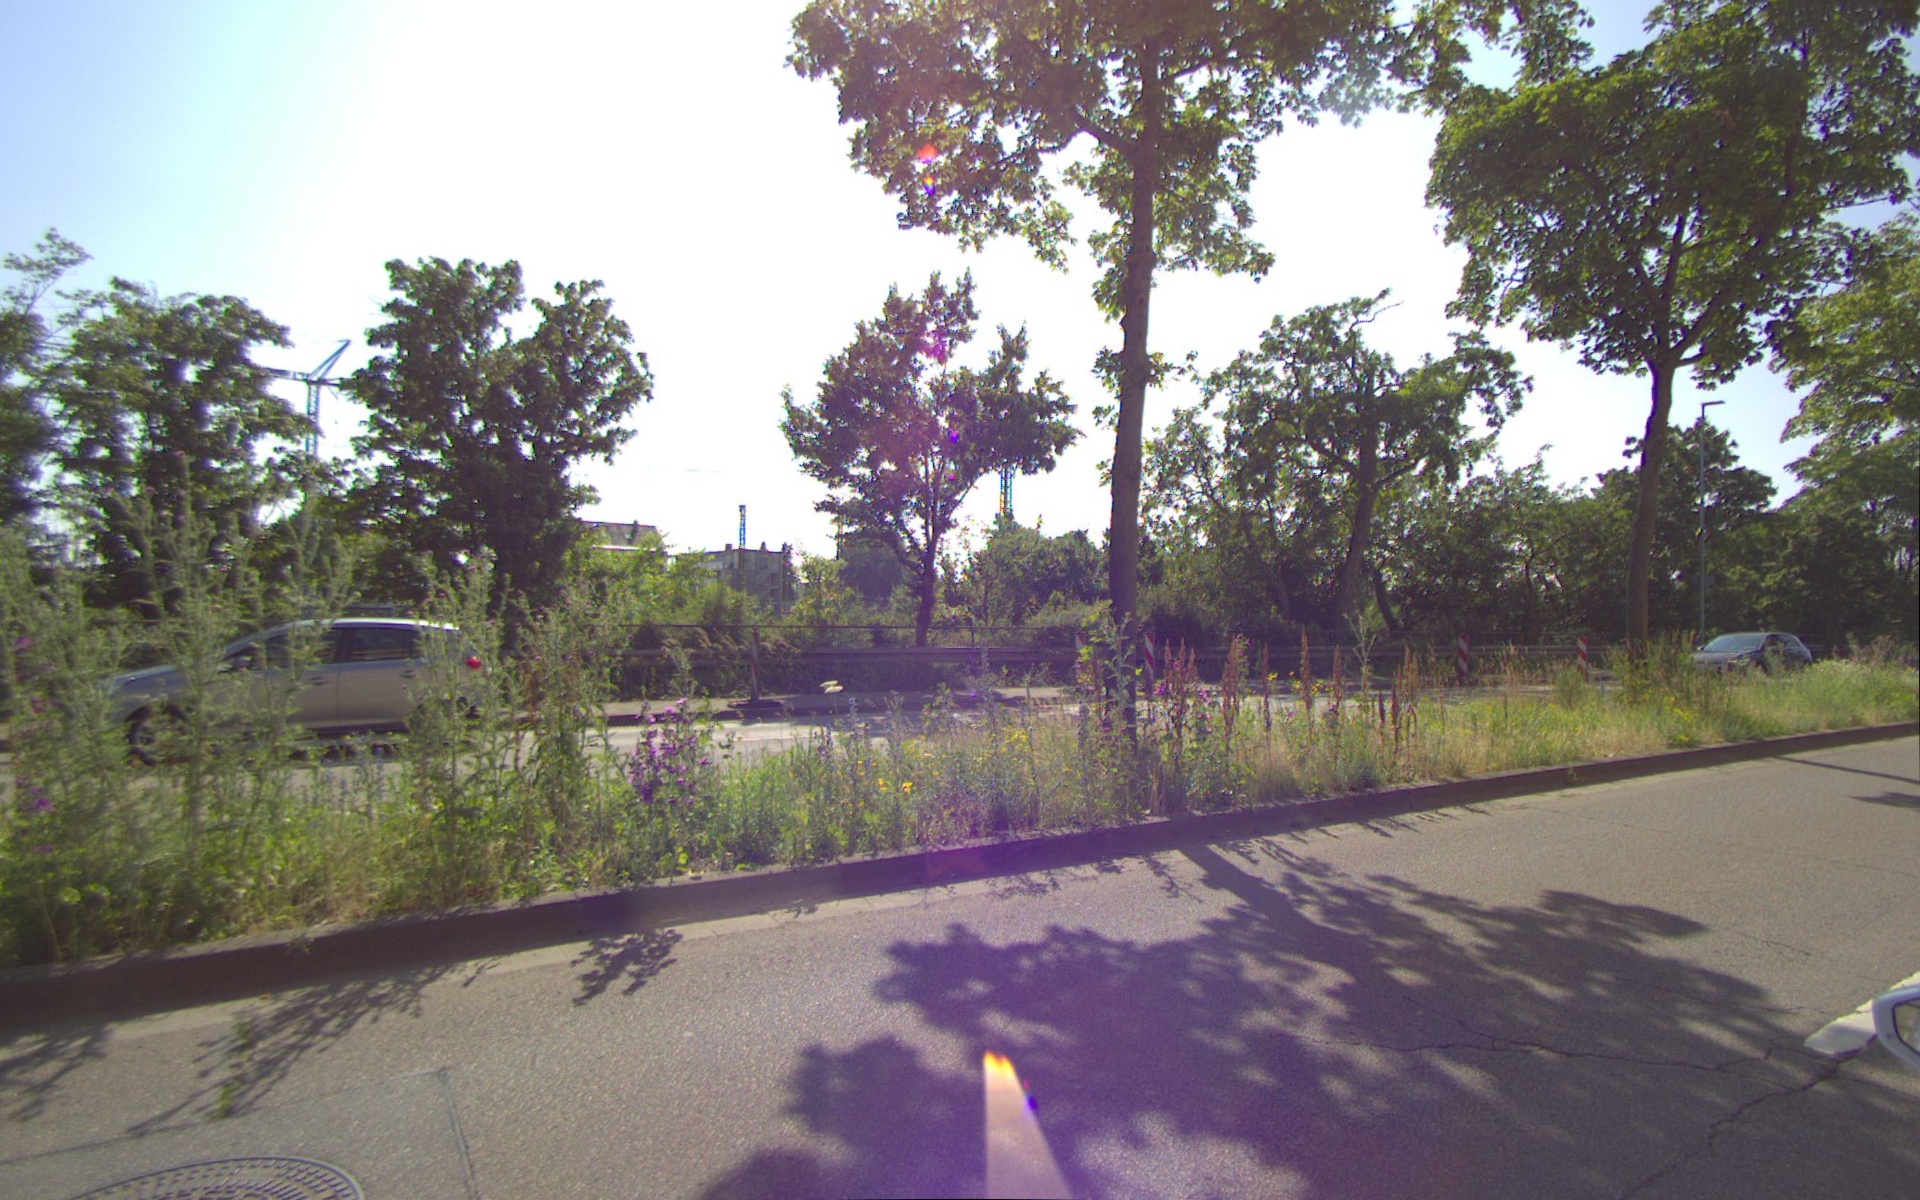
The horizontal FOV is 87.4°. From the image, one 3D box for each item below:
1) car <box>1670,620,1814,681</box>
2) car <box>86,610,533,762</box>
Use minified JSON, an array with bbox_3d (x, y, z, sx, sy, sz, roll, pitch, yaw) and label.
[{"bbox_3d":[22.046,1.408,28.306,3.951,1.550,1.790,2,0,-29],"label":"car"},{"bbox_3d":[-7.041,0.878,11.249,3.930,1.435,1.635,2,-2,-34],"label":"car"}]
